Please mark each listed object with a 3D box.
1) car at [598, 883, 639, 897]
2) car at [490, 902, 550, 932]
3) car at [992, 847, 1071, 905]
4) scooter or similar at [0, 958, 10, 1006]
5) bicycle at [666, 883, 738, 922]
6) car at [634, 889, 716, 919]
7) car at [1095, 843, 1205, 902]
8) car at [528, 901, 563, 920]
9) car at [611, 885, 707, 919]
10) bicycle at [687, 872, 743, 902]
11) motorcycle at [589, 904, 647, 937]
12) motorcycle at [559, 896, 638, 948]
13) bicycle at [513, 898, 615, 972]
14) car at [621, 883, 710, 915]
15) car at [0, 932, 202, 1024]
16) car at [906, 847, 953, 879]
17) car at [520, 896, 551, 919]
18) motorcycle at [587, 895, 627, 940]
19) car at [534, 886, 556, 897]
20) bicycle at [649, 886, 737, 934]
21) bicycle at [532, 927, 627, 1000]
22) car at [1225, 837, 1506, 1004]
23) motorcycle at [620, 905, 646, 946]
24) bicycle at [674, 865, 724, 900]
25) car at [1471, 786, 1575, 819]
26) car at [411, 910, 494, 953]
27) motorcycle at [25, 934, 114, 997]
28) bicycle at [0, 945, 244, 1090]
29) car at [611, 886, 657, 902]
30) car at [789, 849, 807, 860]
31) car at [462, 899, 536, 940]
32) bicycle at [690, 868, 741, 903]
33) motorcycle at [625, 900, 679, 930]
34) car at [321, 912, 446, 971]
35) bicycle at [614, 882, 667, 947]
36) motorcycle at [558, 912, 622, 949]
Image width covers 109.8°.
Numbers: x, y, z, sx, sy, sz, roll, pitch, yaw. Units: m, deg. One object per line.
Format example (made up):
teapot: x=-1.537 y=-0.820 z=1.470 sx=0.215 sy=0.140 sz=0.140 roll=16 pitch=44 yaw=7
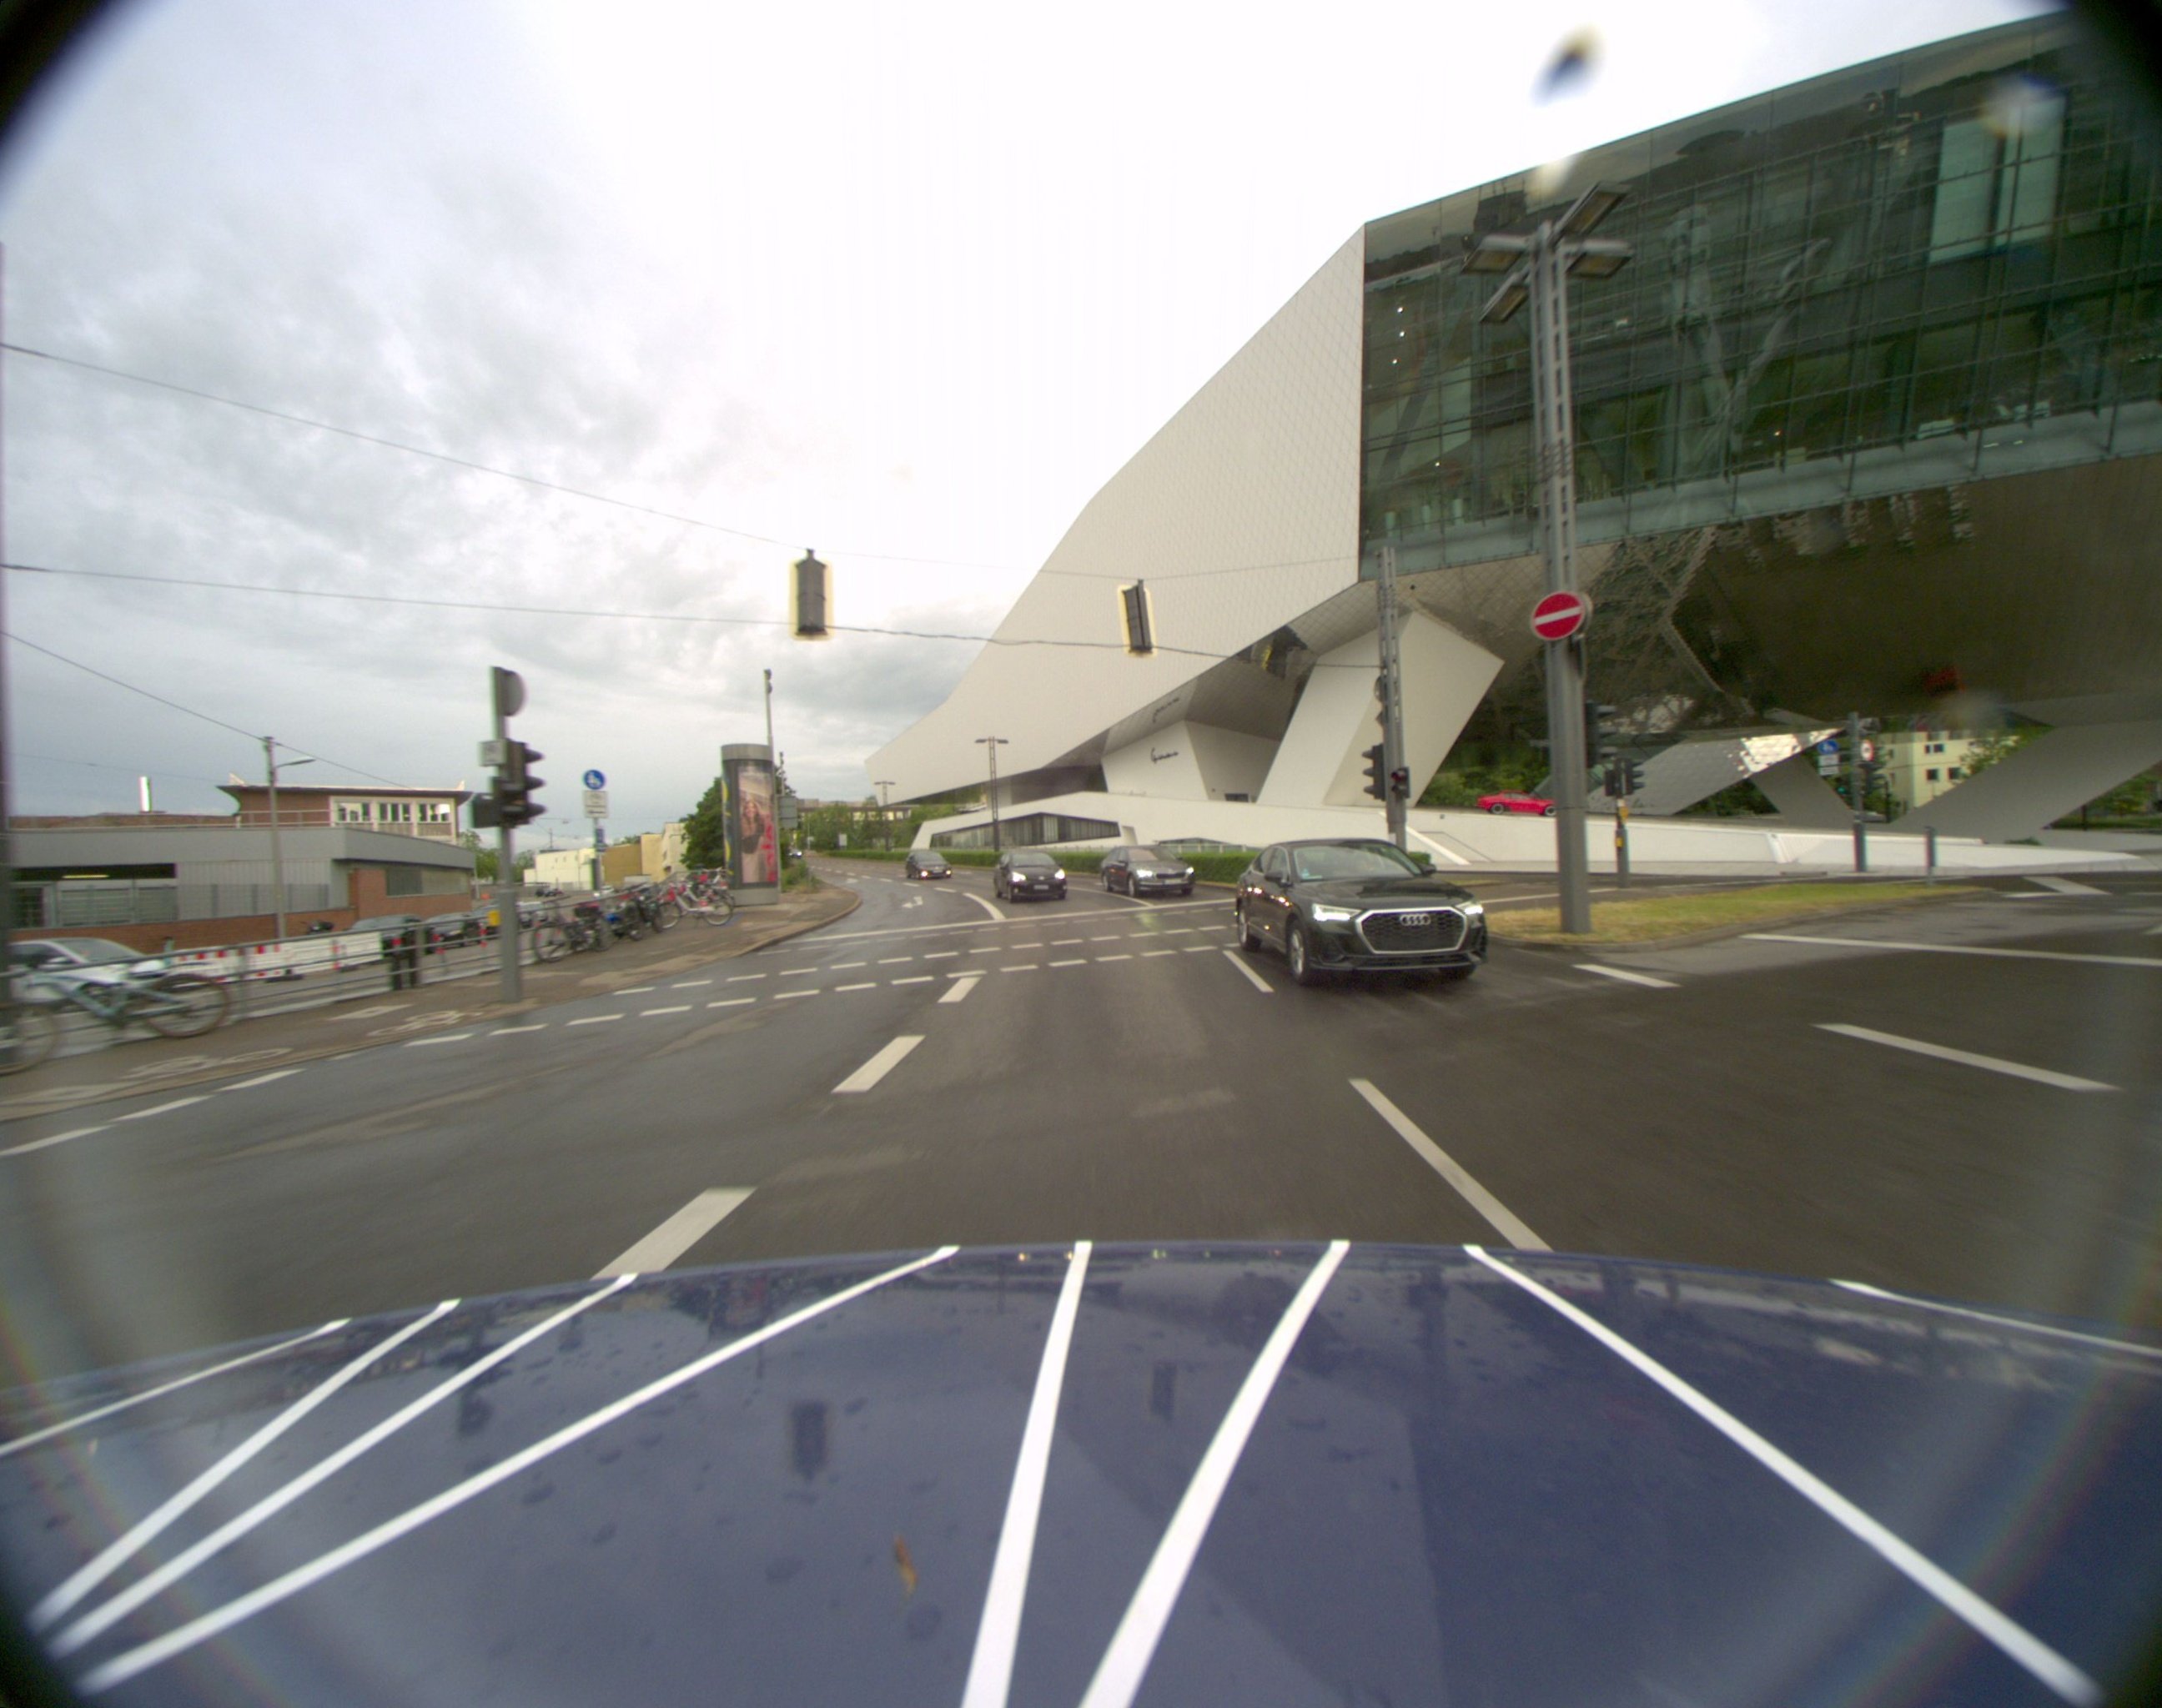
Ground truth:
car: x=-56.415 y=4.353 z=92.695 sx=4.006 sy=1.417 sz=1.716 roll=-4 pitch=1 yaw=-38
car: x=-33.216 y=3.699 z=45.085 sx=1.722 sy=1.396 sz=4.268 roll=-4 pitch=1 yaw=-21
car: x=-1.614 y=0.591 z=23.431 sx=1.695 sy=1.499 sz=4.005 roll=-4 pitch=2 yaw=-14
scooter or similar: x=-26.005 y=3.044 z=17.476 sx=1.639 sy=1.091 sz=0.503 roll=-4 pitch=3 yaw=-8
bicycle: x=-10.129 y=1.291 z=20.348 sx=1.617 sy=0.916 sz=0.421 roll=-3 pitch=1 yaw=-12
car: x=-24.763 y=3.028 z=46.451 sx=4.000 sy=1.417 sz=1.719 roll=-4 pitch=1 yaw=-9
car: x=1.923 y=0.454 z=22.580 sx=1.819 sy=1.431 sz=4.295 roll=-4 pitch=2 yaw=-15
car: x=-45.436 y=4.754 z=64.409 sx=1.724 sy=1.417 sz=4.217 roll=-4 pitch=1 yaw=-44
car: x=-22.211 y=2.513 z=40.136 sx=4.000 sy=1.417 sz=1.719 roll=-4 pitch=1 yaw=-9
bicycle: x=-12.614 y=1.133 z=26.232 sx=0.485 sy=0.916 sz=1.707 roll=-1 pitch=2 yaw=31
motorcycle: x=-16.067 y=2.306 z=26.407 sx=1.619 sy=0.917 sz=0.420 roll=-5 pitch=4 yaw=-36
motorcycle: x=-10.299 y=1.427 z=16.291 sx=0.547 sy=0.890 sz=1.743 roll=-3 pitch=2 yaw=-1
bicycle: x=-9.326 y=1.427 z=13.780 sx=0.347 sy=1.078 sz=1.745 roll=-2 pitch=2 yaw=10
car: x=-23.562 y=2.521 z=43.167 sx=4.000 sy=1.417 sz=1.719 roll=-4 pitch=1 yaw=-9
car: x=-21.421 y=2.611 z=15.698 sx=4.002 sy=1.480 sz=1.566 roll=-4 pitch=1 yaw=-15
car: x=-8.188 y=0.446 z=40.886 sx=1.751 sy=1.466 sz=4.061 roll=-4 pitch=2 yaw=-20
car: x=-40.640 y=3.957 z=56.566 sx=1.736 sy=1.381 sz=3.990 roll=-4 pitch=1 yaw=-36
motorcycle: x=-10.993 y=1.449 z=17.644 sx=0.434 sy=0.885 sz=1.262 roll=-3 pitch=3 yaw=-18
car: x=-80.727 y=5.644 z=114.458 sx=3.989 sy=1.417 sz=1.724 roll=-3 pitch=1 yaw=42
bicycle: x=-9.082 y=1.298 z=17.840 sx=1.747 sy=0.956 sz=0.421 roll=-3 pitch=3 yaw=-16
bicycle: x=-9.527 y=2.046 z=14.506 sx=0.347 sy=1.078 sz=1.745 roll=-2 pitch=2 yaw=10
car: x=3.057 y=0.613 z=9.235 sx=1.756 sy=1.509 sz=4.394 roll=-1 pitch=0 yaw=0
motorcycle: x=-11.746 y=1.866 z=19.949 sx=0.403 sy=0.885 sz=1.537 roll=-4 pitch=3 yaw=-26
bicycle: x=-13.492 y=0.990 z=26.849 sx=1.547 sy=1.149 sz=0.450 roll=-2 pitch=3 yaw=-28
car: x=22.686 y=-2.650 z=39.224 sx=4.235 sy=1.377 sz=2.002 roll=5 pitch=3 yaw=19
car: x=-27.631 y=3.375 z=33.550 sx=1.722 sy=1.417 sz=3.993 roll=-4 pitch=1 yaw=-23
motorcycle: x=-26.006 y=2.844 z=19.578 sx=0.524 sy=1.326 sz=1.666 roll=-5 pitch=3 yaw=-24
bicycle: x=-10.538 y=1.709 z=8.093 sx=0.420 sy=1.124 sz=2.076 roll=-2 pitch=3 yaw=23
car: x=-48.224 y=4.297 z=81.958 sx=4.006 sy=1.417 sz=1.716 roll=-4 pitch=1 yaw=-38
car: x=-42.529 y=0.119 z=114.235 sx=1.821 sy=1.430 sz=4.293 roll=-2 pitch=-1 yaw=-29
car: x=-30.417 y=3.375 z=39.834 sx=1.786 sy=1.657 sz=4.497 roll=-4 pitch=1 yaw=-21
bicycle: x=-12.330 y=1.038 z=25.662 sx=0.442 sy=1.068 sz=1.465 roll=1 pitch=3 yaw=36
motorcycle: x=-15.748 y=2.230 z=27.932 sx=1.619 sy=0.917 sz=0.420 roll=-6 pitch=4 yaw=-38
car: x=-24.975 y=3.056 z=27.425 sx=1.892 sy=1.542 sz=4.499 roll=-4 pitch=1 yaw=-24
bicycle: x=-9.475 y=1.262 z=16.404 sx=0.400 sy=1.168 sz=2.012 roll=-3 pitch=2 yaw=-14
motorcycle: x=-15.408 y=2.399 z=23.886 sx=1.619 sy=0.917 sz=0.481 roll=-5 pitch=3 yaw=-31
